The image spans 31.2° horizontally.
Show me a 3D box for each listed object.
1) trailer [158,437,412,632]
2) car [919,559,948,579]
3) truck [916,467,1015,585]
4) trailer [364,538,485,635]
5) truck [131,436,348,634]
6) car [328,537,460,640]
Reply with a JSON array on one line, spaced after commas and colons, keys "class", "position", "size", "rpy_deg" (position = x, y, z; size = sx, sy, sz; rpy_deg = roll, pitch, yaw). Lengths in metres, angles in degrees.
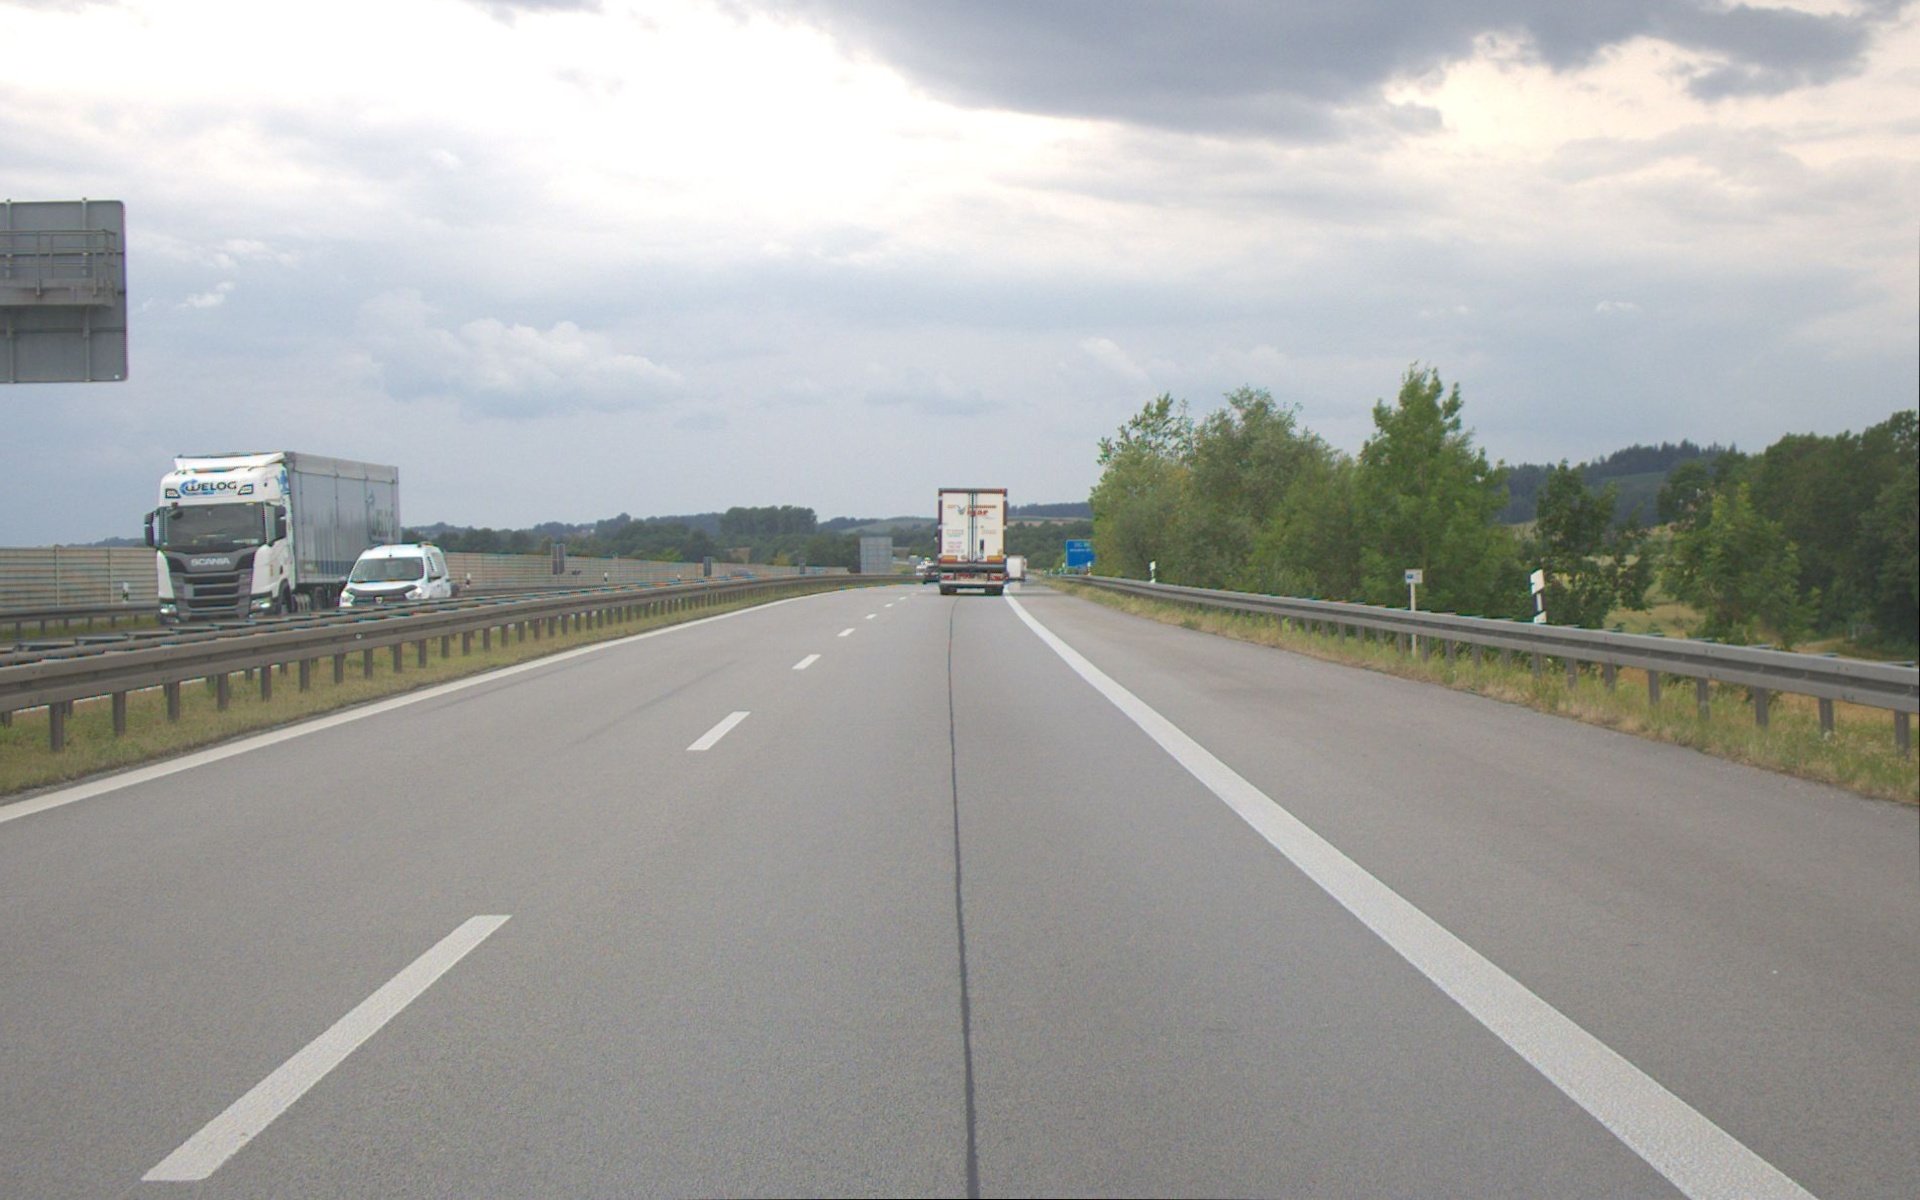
[{"class": "trailer", "position": [-15.602, -1.502, 80.813], "size": [3.179, 4.062, 14.025], "rpy_deg": [-2, 1, 0]}, {"class": "car", "position": [-1.985, -2.316, 257.061], "size": [1.993, 1.415, 4.001], "rpy_deg": [1, 2, -3]}, {"class": "truck", "position": [0.207, -2.820, 137.058], "size": [3.672, 4.397, 16.341], "rpy_deg": [0, 0, 0]}, {"class": "trailer", "position": [-11.179, -0.283, 71.997], "size": [1.814, 1.840, 3.863], "rpy_deg": [4, 0, 0]}, {"class": "truck", "position": [-15.596, -1.406, 75.014], "size": [3.109, 4.000, 7.324], "rpy_deg": [-2, 1, 0]}, {"class": "car", "position": [-11.153, -0.243, 67.962], "size": [1.814, 1.840, 4.181], "rpy_deg": [4, 0, 0]}]
